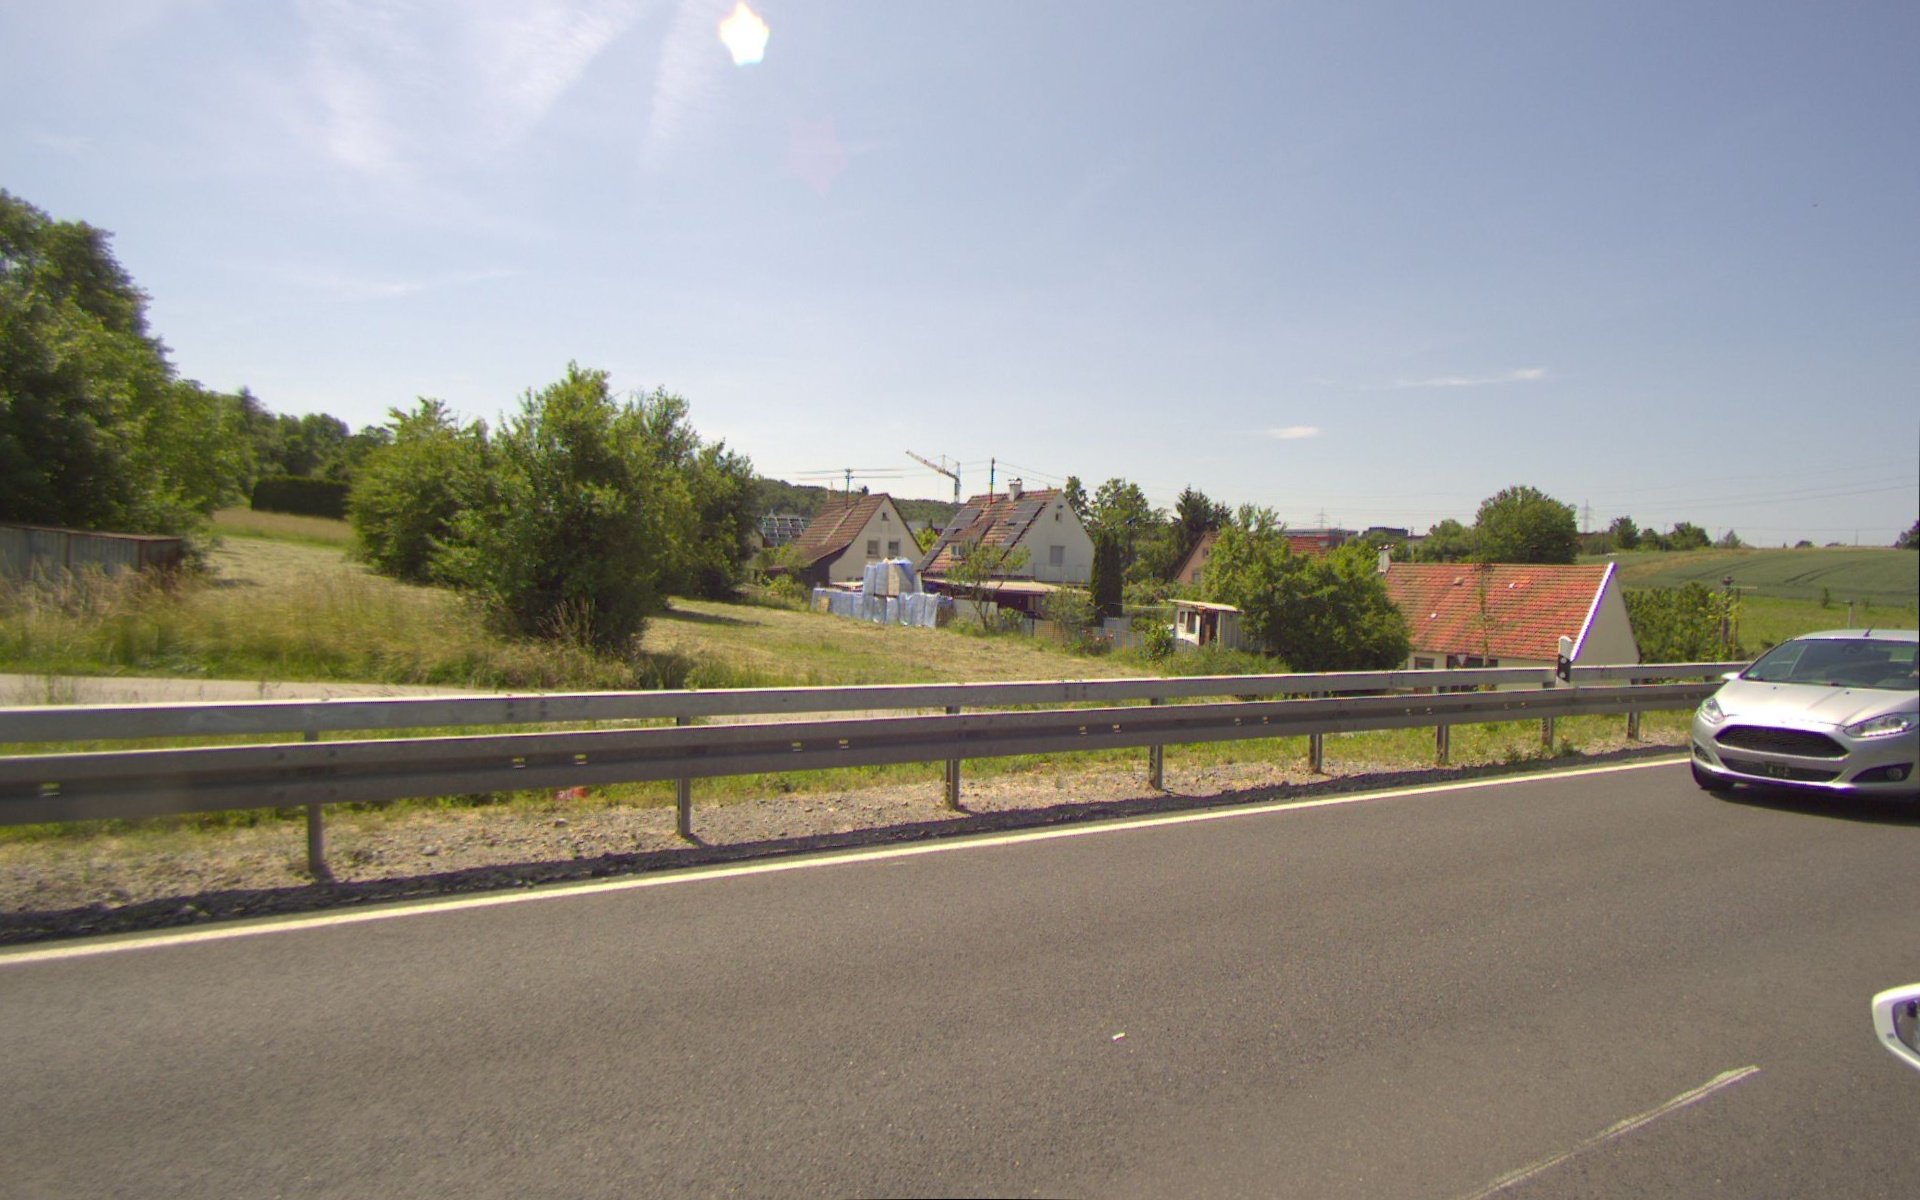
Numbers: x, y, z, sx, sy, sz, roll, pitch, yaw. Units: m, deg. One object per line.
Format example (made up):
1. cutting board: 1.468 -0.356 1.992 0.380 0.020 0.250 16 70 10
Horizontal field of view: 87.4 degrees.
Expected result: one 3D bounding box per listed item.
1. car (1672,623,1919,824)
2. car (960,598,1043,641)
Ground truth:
1. car: 8.376 0.954 9.175 4.112 1.460 1.637 1 -1 -32
2. car: 1.827 0.852 45.456 1.763 1.535 3.965 1 4 -32
